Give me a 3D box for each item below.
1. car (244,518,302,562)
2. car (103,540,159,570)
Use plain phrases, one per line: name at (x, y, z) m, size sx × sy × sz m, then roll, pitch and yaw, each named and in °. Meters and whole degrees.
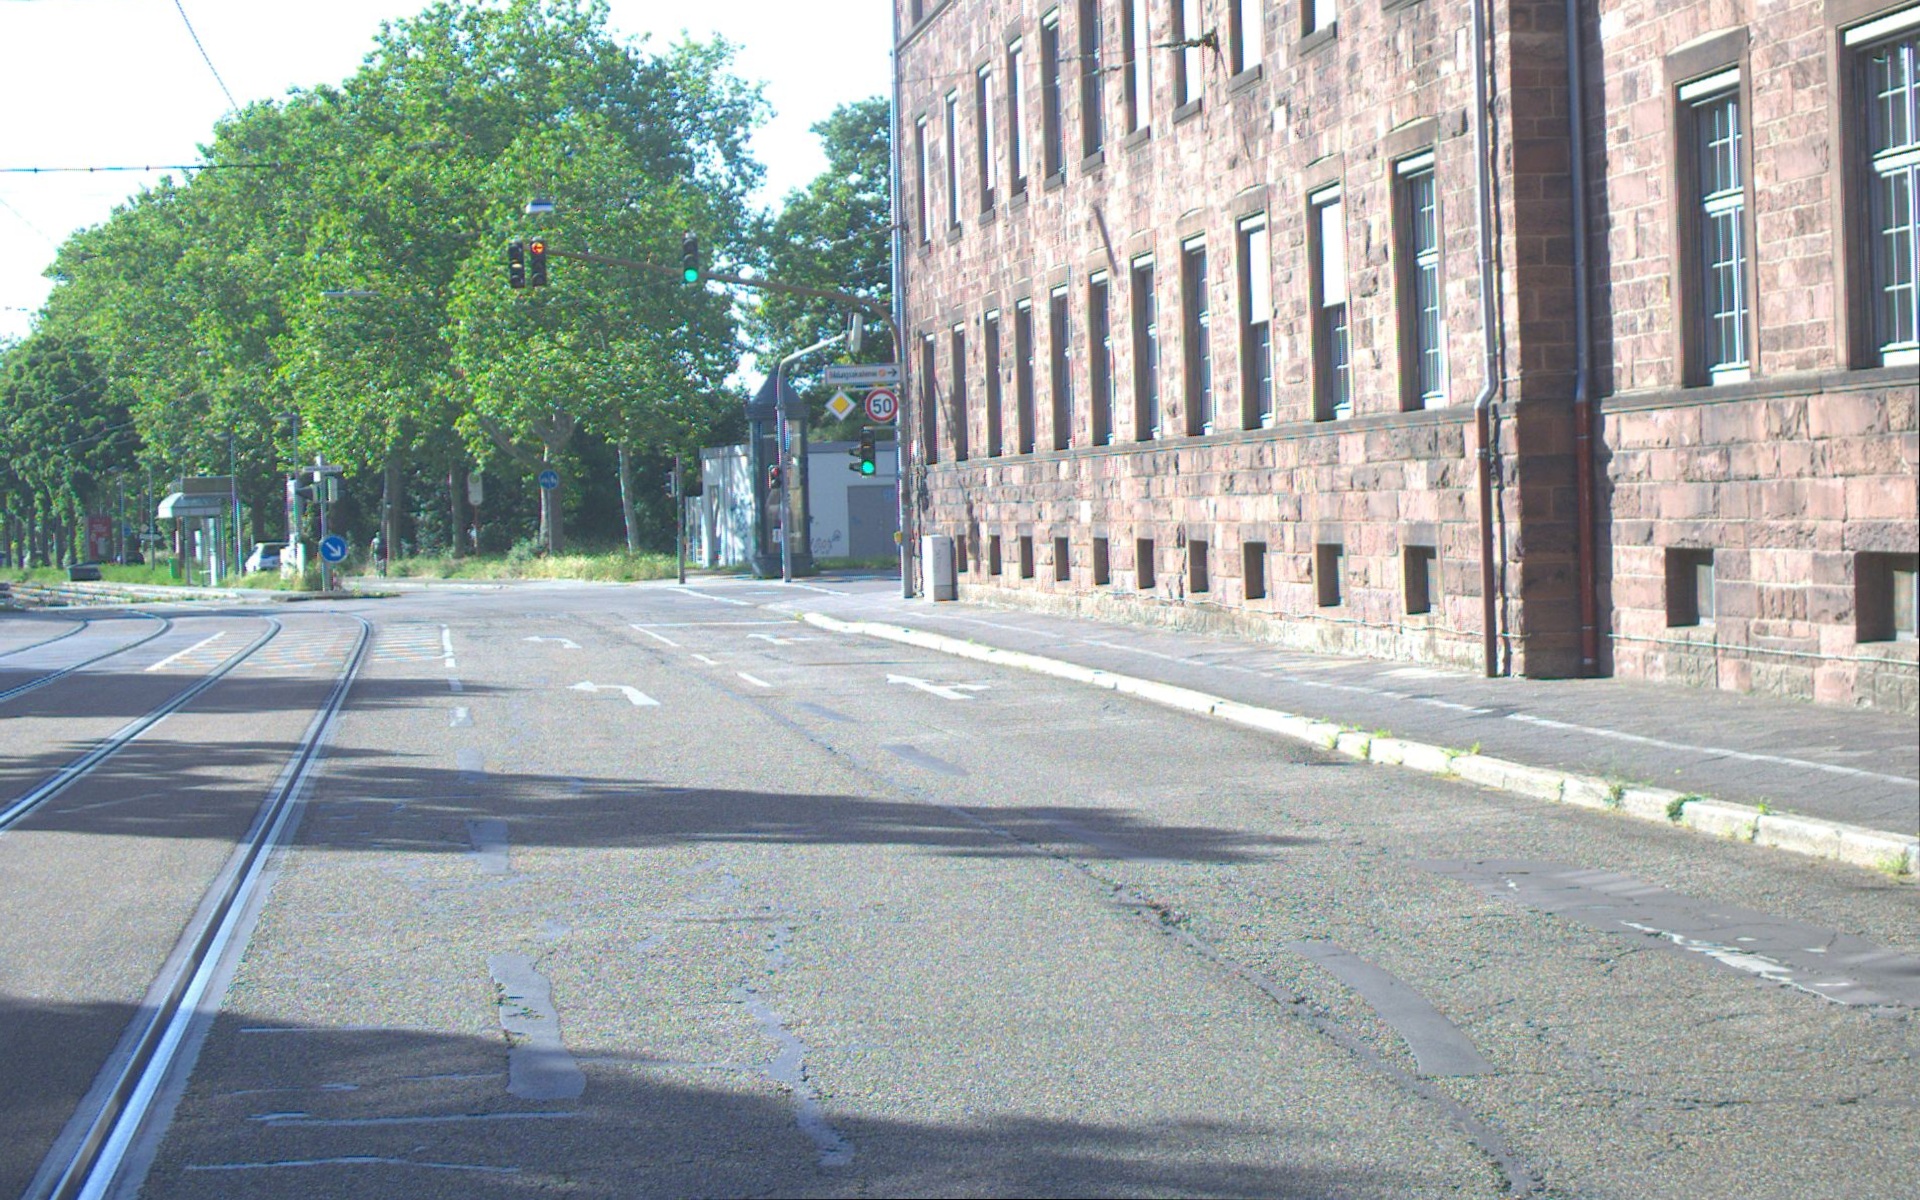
car at (-26.312, -2.321, 131.589) m, size 1.942 × 1.605 × 4.001 m, roll -2°, pitch 2°, yaw -14°
car at (-46.144, -2.527, 191.287) m, size 1.942 × 1.605 × 4.000 m, roll -2°, pitch 2°, yaw -29°
